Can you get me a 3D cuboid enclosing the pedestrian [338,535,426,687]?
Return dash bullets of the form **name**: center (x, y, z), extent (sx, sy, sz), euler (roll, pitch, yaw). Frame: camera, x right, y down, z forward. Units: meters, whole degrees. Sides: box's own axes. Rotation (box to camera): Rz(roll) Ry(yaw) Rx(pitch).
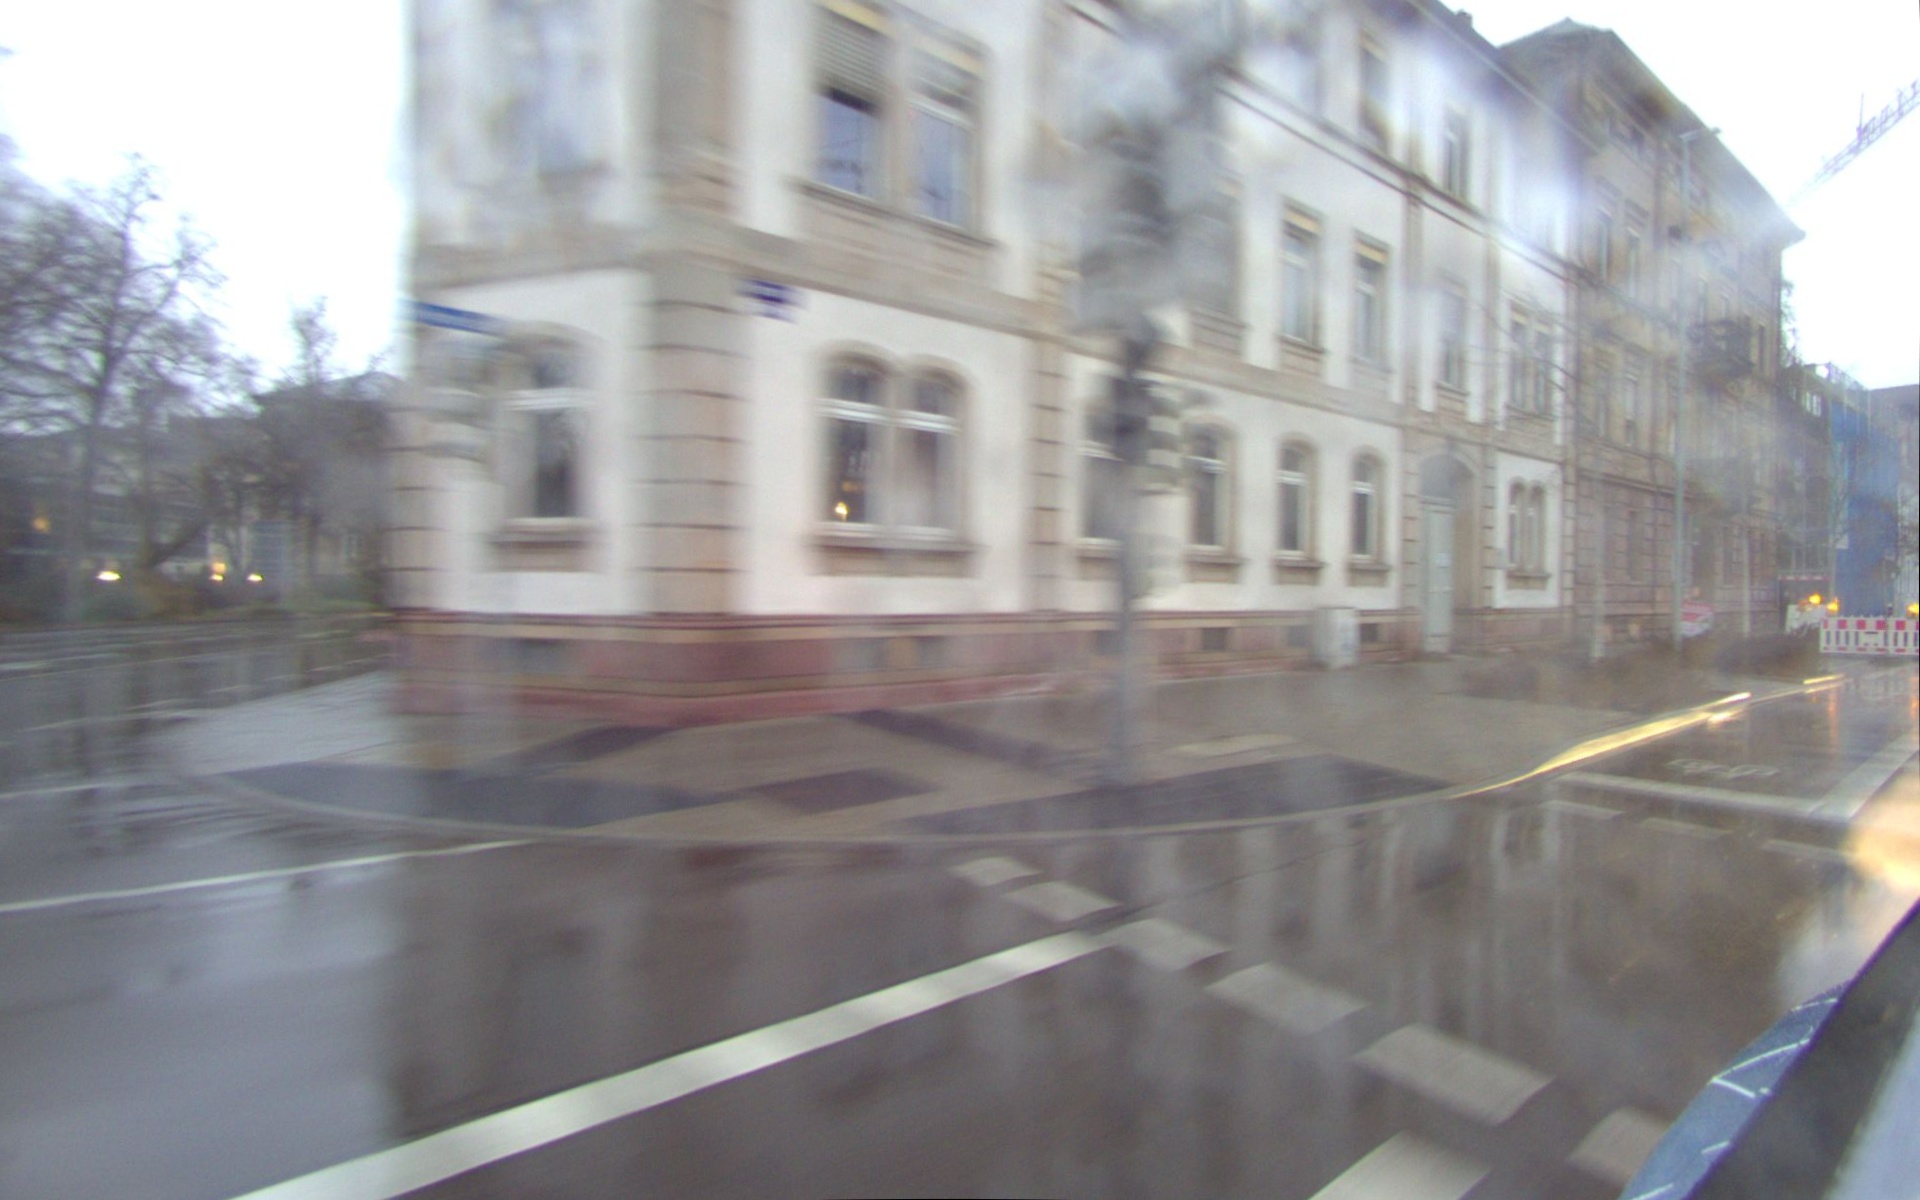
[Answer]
- **pedestrian**: center (-7.973, 0.139, 14.003), extent (0.849, 2.006, 0.980), euler (-1, -1, -18)
